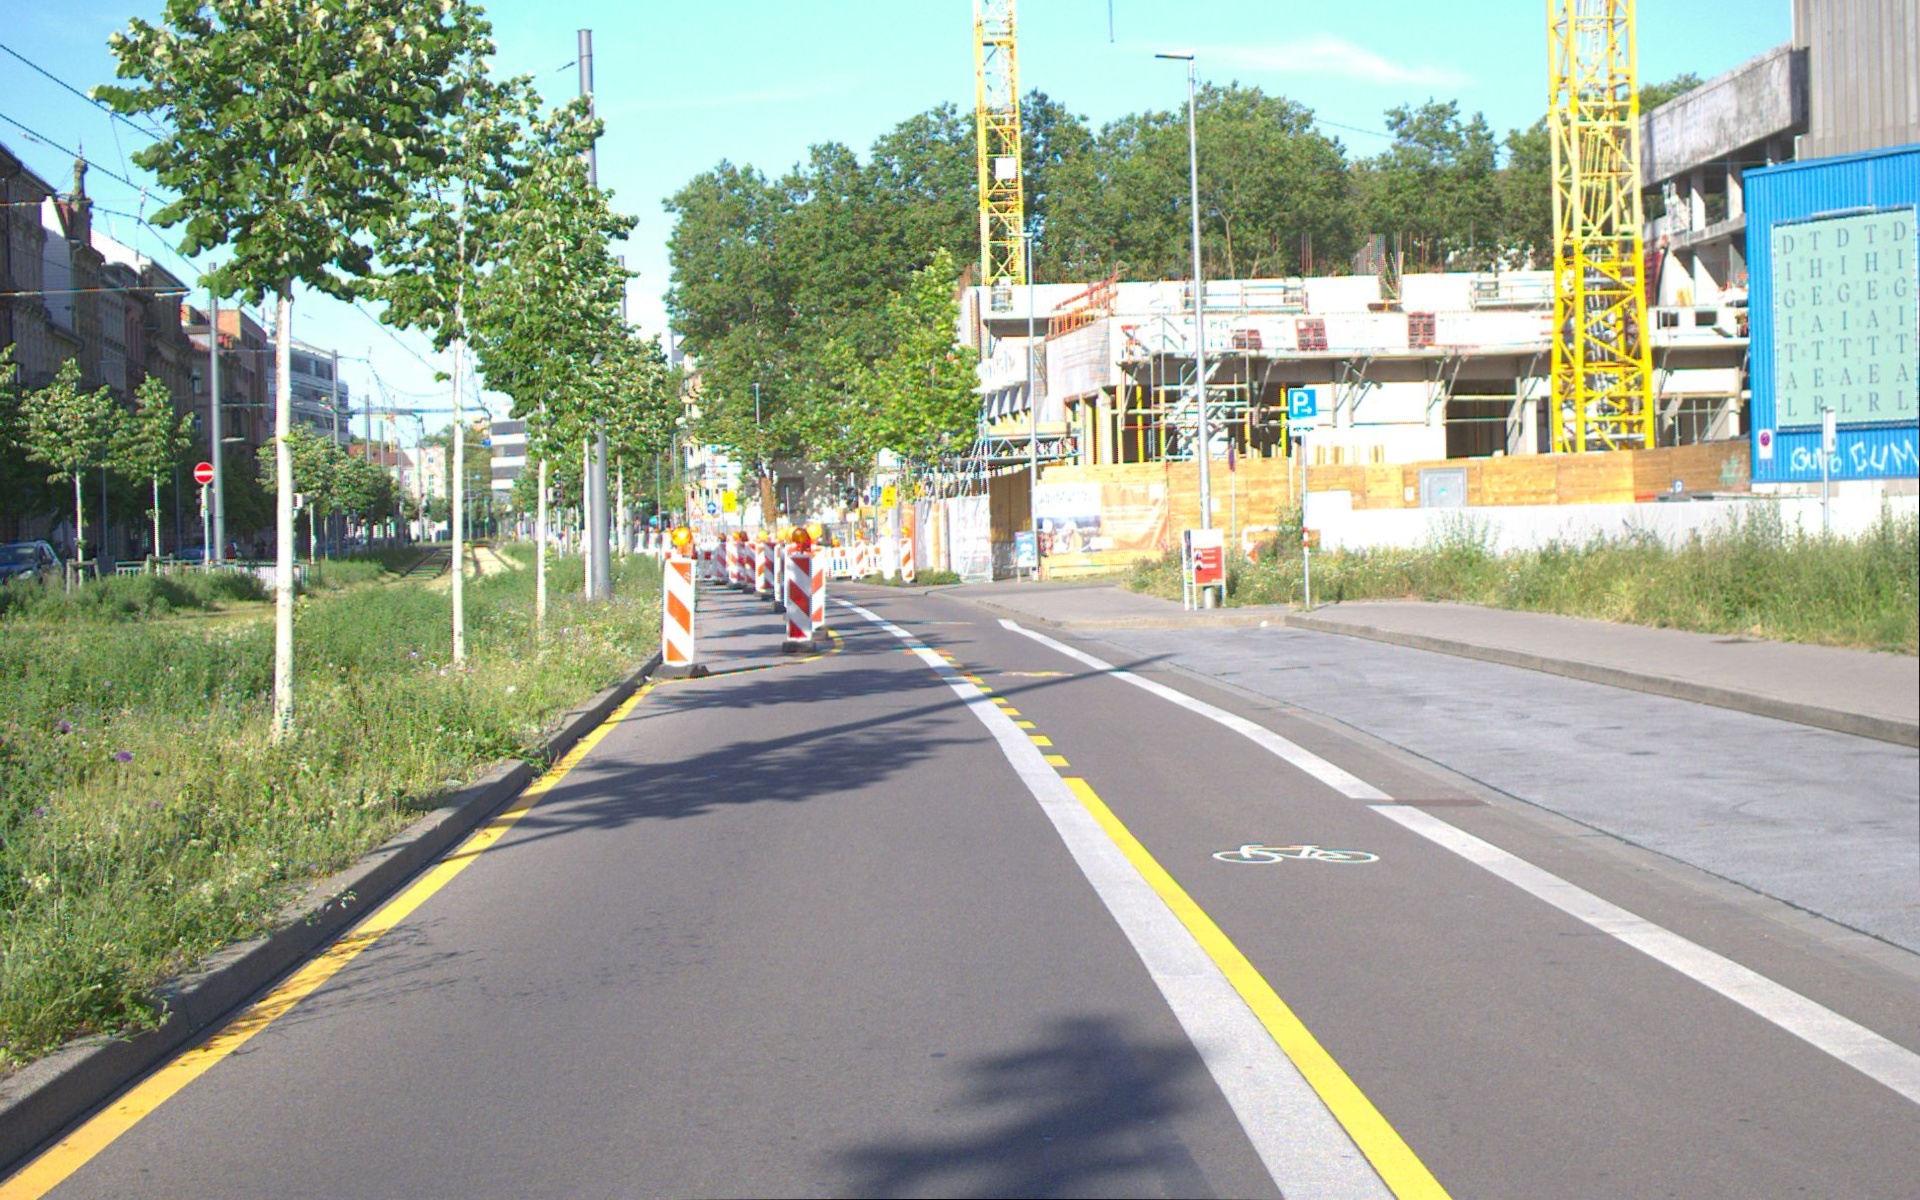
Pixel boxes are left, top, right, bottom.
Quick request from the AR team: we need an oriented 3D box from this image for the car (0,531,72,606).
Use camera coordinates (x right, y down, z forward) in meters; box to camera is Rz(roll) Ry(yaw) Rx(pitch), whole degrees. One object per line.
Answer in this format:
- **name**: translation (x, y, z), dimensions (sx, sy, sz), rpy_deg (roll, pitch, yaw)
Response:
- **car**: translation (-23.014, -0.785, 83.885), dimensions (1.728, 1.740, 4.122), rpy_deg (-1, 1, -2)

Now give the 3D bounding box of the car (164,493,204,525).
- **car**: translation (-38.979, -4.559, 172.770), dimensions (1.566, 1.557, 4.716), rpy_deg (-2, 2, -8)
